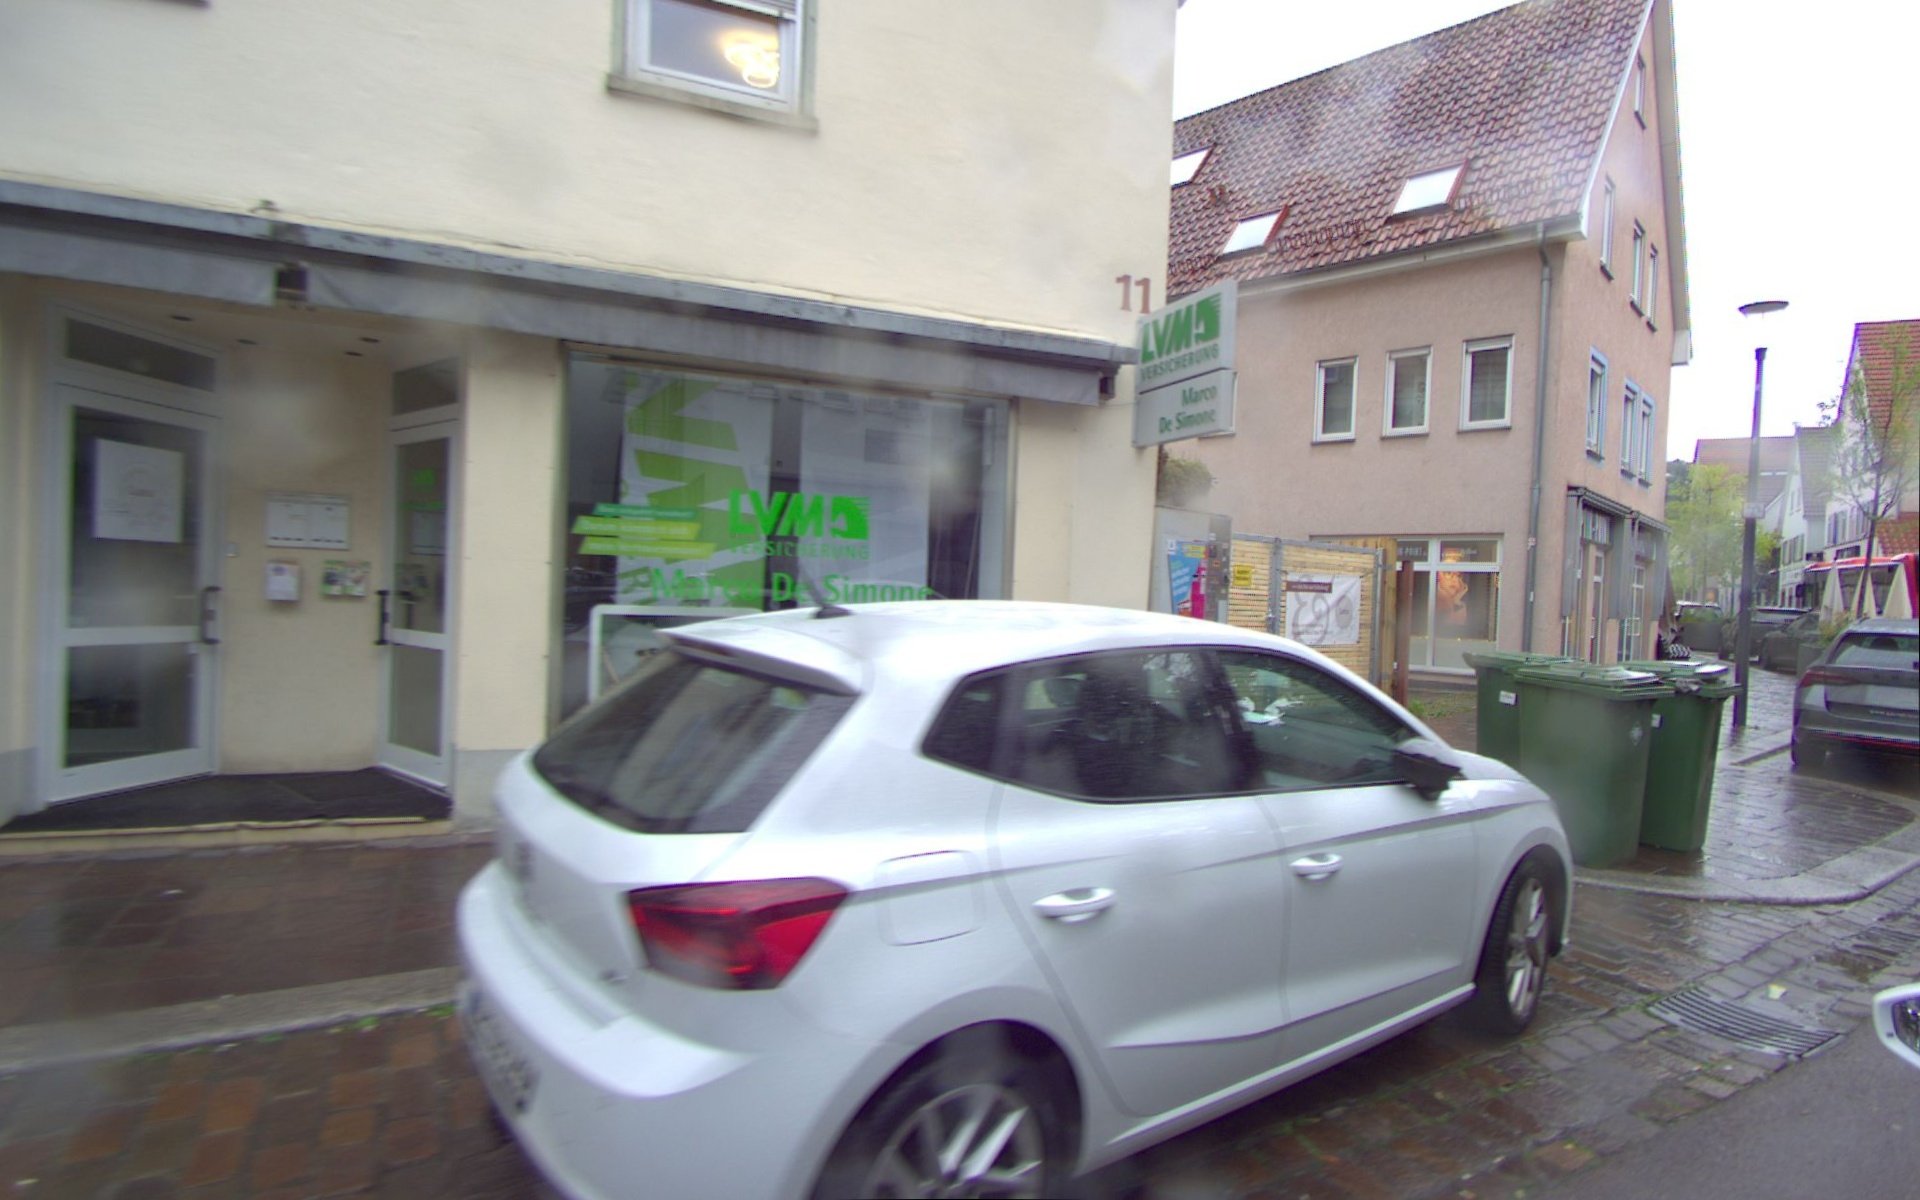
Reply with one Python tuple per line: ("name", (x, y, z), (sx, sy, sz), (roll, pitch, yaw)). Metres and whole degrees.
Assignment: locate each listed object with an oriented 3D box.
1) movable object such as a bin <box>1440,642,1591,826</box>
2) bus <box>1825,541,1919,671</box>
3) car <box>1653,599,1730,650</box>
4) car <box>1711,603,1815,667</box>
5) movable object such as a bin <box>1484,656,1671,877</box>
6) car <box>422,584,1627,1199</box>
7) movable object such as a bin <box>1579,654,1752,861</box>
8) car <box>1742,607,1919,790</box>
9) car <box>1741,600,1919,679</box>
("movable object such as a bin", (3.726, 0.861, 6.748), (0.617, 1.124, 0.655), (2, 0, -34))
("bus", (26.476, 0.230, 27.755), (2.602, 3.270, 6.591), (2, 0, 30))
("car", (27.430, 0.918, 37.788), (1.745, 1.697, 4.471), (4, 1, 30))
("car", (21.819, 0.934, 27.422), (1.569, 1.566, 3.970), (2, 0, 30))
("movable object such as a bin", (3.512, 0.902, 5.733), (0.541, 1.101, 0.687), (2, 2, -34))
("car", (0.490, 0.714, 3.301), (3.781, 1.442, 1.677), (1, 0, -37))
("movable object such as a bin", (4.254, 0.906, 6.070), (0.617, 1.124, 0.655), (2, 0, -34))
("car", (9.392, 0.884, 9.892), (4.343, 1.474, 1.975), (2, 0, -43))
("car", (19.805, 0.812, 23.088), (1.773, 1.452, 4.624), (4, 2, 24))
